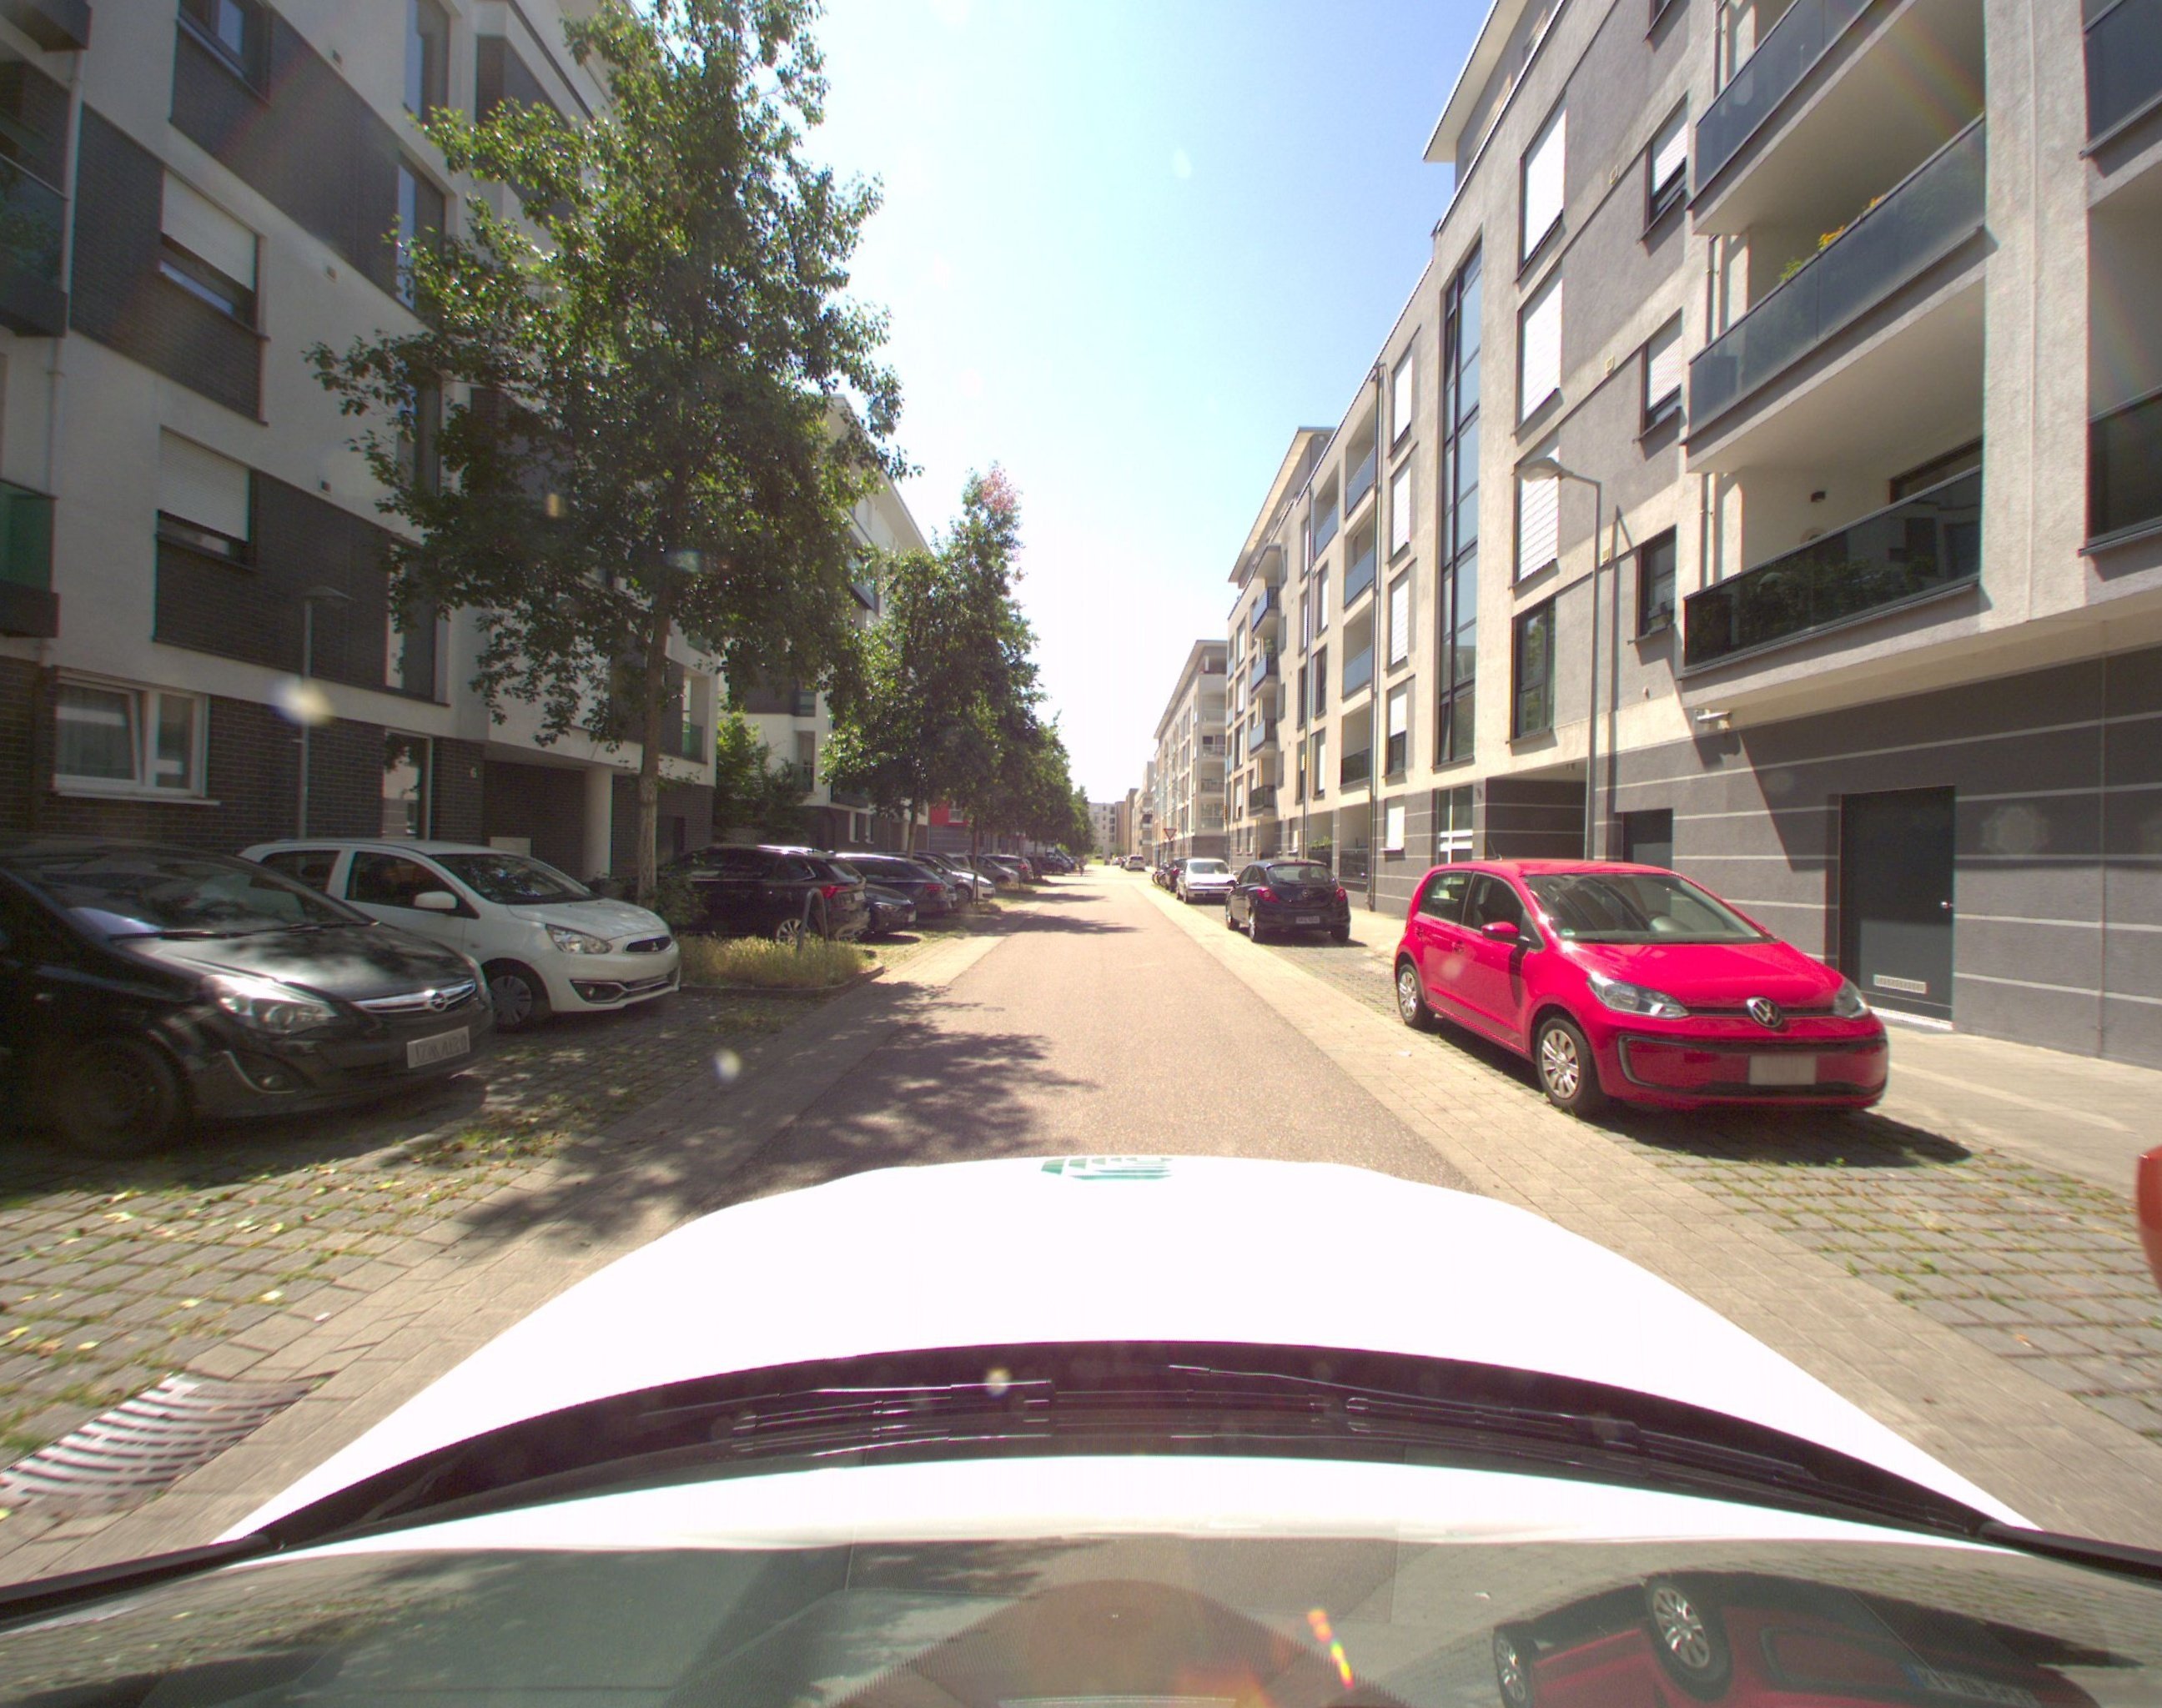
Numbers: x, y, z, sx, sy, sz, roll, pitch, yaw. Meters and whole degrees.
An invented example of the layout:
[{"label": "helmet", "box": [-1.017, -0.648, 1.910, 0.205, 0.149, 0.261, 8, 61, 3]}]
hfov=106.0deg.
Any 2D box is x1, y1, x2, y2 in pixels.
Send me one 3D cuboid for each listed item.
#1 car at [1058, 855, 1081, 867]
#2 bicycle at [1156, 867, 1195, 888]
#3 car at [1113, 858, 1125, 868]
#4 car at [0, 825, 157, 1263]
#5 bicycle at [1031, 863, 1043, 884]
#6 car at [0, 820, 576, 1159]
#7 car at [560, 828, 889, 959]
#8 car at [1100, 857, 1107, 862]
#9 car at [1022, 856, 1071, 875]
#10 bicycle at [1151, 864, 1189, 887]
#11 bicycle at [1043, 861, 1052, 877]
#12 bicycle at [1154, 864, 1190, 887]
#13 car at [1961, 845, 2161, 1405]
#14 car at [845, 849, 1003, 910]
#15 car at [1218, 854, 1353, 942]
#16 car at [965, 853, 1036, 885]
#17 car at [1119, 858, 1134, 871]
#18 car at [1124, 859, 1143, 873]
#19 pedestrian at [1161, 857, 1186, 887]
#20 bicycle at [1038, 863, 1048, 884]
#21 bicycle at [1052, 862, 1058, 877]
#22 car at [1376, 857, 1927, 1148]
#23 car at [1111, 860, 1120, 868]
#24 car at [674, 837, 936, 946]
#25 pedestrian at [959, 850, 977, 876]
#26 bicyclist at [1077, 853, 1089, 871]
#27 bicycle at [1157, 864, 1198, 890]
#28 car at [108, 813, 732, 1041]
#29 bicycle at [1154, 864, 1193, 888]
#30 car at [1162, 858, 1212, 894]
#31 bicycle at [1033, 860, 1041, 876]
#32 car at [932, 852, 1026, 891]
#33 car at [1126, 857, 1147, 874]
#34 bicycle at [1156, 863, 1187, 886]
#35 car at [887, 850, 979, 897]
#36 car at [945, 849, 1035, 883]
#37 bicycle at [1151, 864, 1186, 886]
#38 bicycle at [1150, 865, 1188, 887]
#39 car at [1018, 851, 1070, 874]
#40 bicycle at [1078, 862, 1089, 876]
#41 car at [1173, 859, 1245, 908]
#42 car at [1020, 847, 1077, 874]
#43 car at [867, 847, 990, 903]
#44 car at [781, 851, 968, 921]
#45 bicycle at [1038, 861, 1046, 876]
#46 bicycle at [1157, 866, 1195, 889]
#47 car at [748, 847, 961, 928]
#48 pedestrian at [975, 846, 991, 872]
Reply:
[{"label": "car", "box": [-2.069, 1.311, 147.353, 3.965, 2.014, 2.004, 1, -1, 7]}, {"label": "bicycle", "box": [4.709, 1.178, 40.610, 1.919, 1.035, 0.559, 0, -1, -3]}, {"label": "car", "box": [7.041, 1.663, 151.631, 1.987, 1.675, 3.999, 1, 0, 0]}, {"label": "car", "box": [-5.867, 0.546, 2.283, 4.238, 1.517, 1.924, 3, 0, 0]}, {"label": "bicycle", "box": [-2.577, 1.120, 47.238, 0.434, 1.128, 1.971, 1, 0, -11]}, {"label": "car", "box": [-5.683, 0.588, 4.727, 4.301, 1.476, 1.793, 3, 0, 1]}, {"label": "car", "box": [-5.149, 0.549, 12.195, 3.973, 1.629, 1.933, 3, 0, 1]}, {"label": "car", "box": [6.520, 1.650, 235.080, 1.987, 1.519, 4.000, 1, 0, 0]}, {"label": "car", "box": [-3.163, 1.096, 75.889, 4.367, 1.515, 2.075, 3, 0, 1]}, {"label": "bicycle", "box": [4.682, 1.112, 42.829, 1.911, 1.179, 0.640, 0, -1, 10]}, {"label": "bicycle", "box": [-2.695, 1.199, 65.757, 0.569, 1.174, 1.765, 4, 1, -6]}, {"label": "bicycle", "box": [4.693, 1.094, 41.857, 1.838, 1.148, 0.458, 0, -1, -18]}, {"label": "car", "box": [3.686, 0.708, 0.517, 1.731, 1.487, 4.259, 0, 0, 1]}, {"label": "car", "box": [-4.599, 0.736, 24.376, 4.348, 1.710, 1.999, -1, 0, -2]}, {"label": "car", "box": [3.804, 0.756, 15.824, 1.637, 1.462, 4.118, -1, 0, 1]}, {"label": "car", "box": [-4.371, 0.813, 44.773, 3.617, 1.520, 1.832, 3, 0, 1]}, {"label": "car", "box": [5.766, 1.354, 103.082, 1.749, 1.552, 4.005, 2, 0, 5]}, {"label": "car", "box": [5.689, 1.276, 88.670, 1.986, 1.524, 4.002, 0, 0, 2]}, {"label": "pedestrian", "box": [4.698, 0.916, 41.403, 1.178, 1.515, 0.686, 0, -1, -9]}, {"label": "bicycle", "box": [-2.216, 1.097, 47.262, 0.371, 1.180, 1.814, 1, 0, -10]}, {"label": "bicycle", "box": [-2.101, 1.265, 65.968, 0.464, 1.141, 1.925, 1, 0, -1]}, {"label": "car", "box": [3.612, 0.776, 6.054, 1.589, 1.486, 3.677, -1, 0, 1]}, {"label": "car", "box": [7.549, 2.248, 178.855, 1.987, 1.717, 4.000, 1, 0, 0]}, {"label": "car", "box": [-4.842, 0.633, 14.716, 3.971, 1.651, 1.919, 2, 0, 2]}, {"label": "pedestrian", "box": [-7.393, 0.591, 53.171, 0.996, 1.690, 0.832, 1, -1, 2]}, {"label": "bicyclist", "box": [0.190, 0.639, 66.513, 0.950, 1.459, 0.800, 1, -1, 0]}, {"label": "bicycle", "box": [4.635, 1.089, 39.171, 1.865, 1.218, 0.715, 0, -1, -3]}, {"label": "car", "box": [-5.565, 0.564, 7.288, 3.972, 1.592, 1.884, 3, 0, 1]}, {"label": "bicycle", "box": [4.691, 1.107, 41.273, 1.922, 1.218, 0.459, 0, -1, -8]}, {"label": "car", "box": [4.569, 0.914, 35.527, 1.732, 1.485, 4.230, 0, 0, 1]}, {"label": "bicycle", "box": [-3.583, 1.141, 66.029, 0.517, 1.204, 1.752, 3, 1, -1]}, {"label": "car", "box": [-4.557, 0.769, 36.959, 3.924, 1.553, 1.872, 3, 0, 0]}, {"label": "car", "box": [5.630, 1.126, 82.969, 1.990, 1.657, 4.117, 0, 0, 2]}, {"label": "bicycle", "box": [4.829, 1.103, 43.509, 1.546, 1.218, 0.707, 0, -1, -1]}, {"label": "car", "box": [-5.368, 0.694, 29.806, 2.923, 1.500, 1.848, 4, 0, 0]}, {"label": "car", "box": [-4.385, 0.614, 39.860, 4.170, 1.486, 1.957, 2, -2, -3]}, {"label": "bicycle", "box": [4.738, 1.117, 44.220, 1.851, 1.193, 0.688, 0, -1, 4]}, {"label": "bicycle", "box": [4.569, 1.122, 42.224, 1.911, 1.133, 0.611, 0, -1, 10]}, {"label": "car", "box": [-3.746, 0.881, 83.087, 5.127, 2.119, 2.312, 2, 0, 1]}, {"label": "bicycle", "box": [0.199, 1.228, 66.589, 0.895, 1.129, 2.040, 1, 0, 1]}, {"label": "car", "box": [4.190, 0.921, 27.210, 1.827, 1.505, 4.351, 0, 0, 1]}, {"label": "car", "box": [-3.482, 0.713, 88.519, 6.002, 2.816, 2.605, 0, -1, 1]}, {"label": "car", "box": [-4.939, 0.673, 26.796, 3.701, 1.586, 1.818, 3, -1, -4]}, {"label": "car", "box": [-4.926, 0.743, 19.840, 3.972, 1.422, 1.898, 3, 0, 2]}, {"label": "bicycle", "box": [-3.126, 1.159, 65.769, 0.432, 1.204, 1.701, 3, 1, 2]}, {"label": "bicycle", "box": [4.642, 1.127, 39.917, 1.782, 1.104, 0.746, 0, -1, -3]}, {"label": "car", "box": [-4.661, 0.685, 17.242, 3.965, 1.445, 1.773, 3, -1, -3]}, {"label": "pedestrian", "box": [-7.711, 0.404, 64.095, 1.004, 2.014, 1.130, 1, -1, 4]}]
